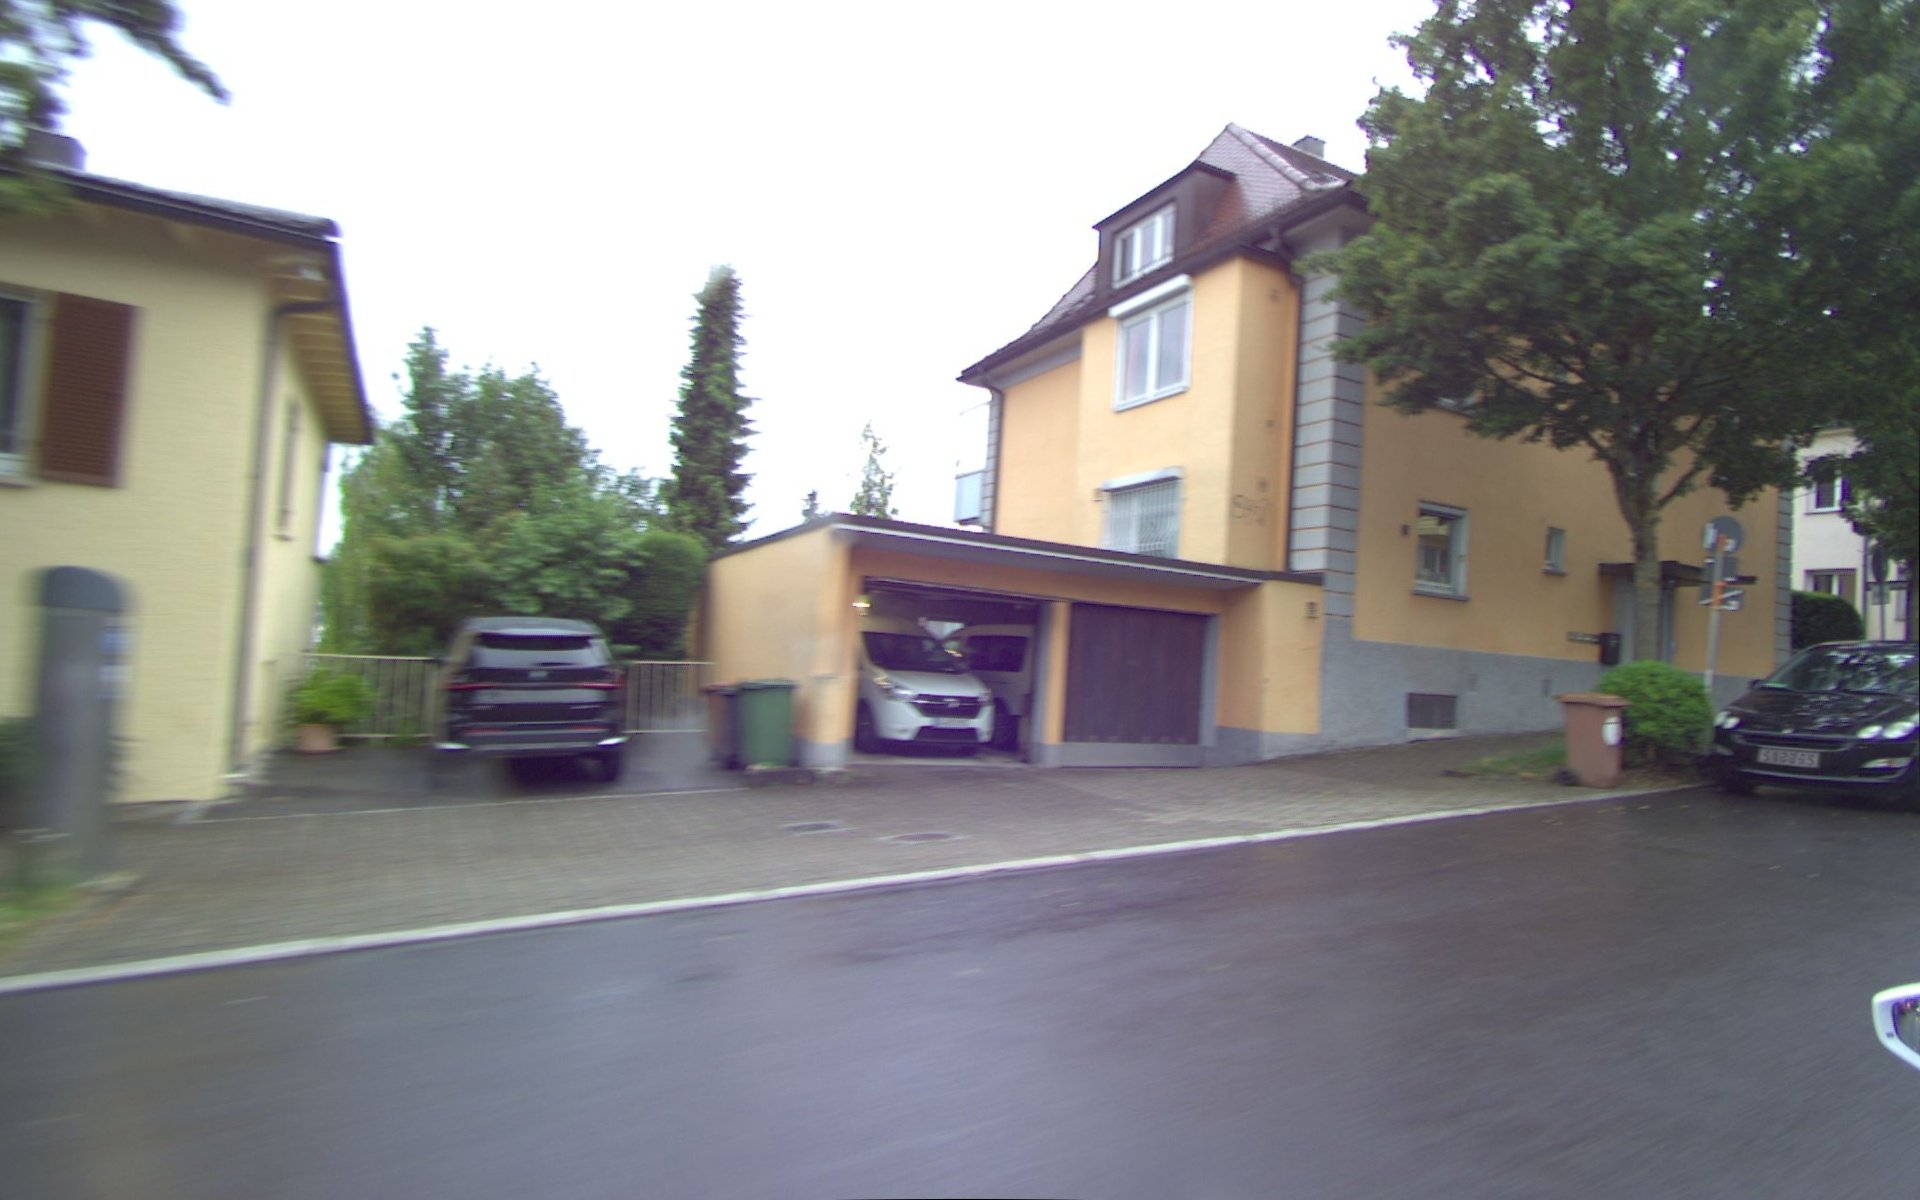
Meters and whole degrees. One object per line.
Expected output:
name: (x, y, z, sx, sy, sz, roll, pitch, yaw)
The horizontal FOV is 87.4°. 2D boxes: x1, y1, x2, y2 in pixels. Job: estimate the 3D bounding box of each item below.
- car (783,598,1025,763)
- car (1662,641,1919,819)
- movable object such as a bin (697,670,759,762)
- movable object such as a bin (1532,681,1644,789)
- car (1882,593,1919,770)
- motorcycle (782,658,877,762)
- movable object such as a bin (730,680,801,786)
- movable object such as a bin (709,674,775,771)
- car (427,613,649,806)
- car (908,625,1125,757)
car: (-0.982, 1.087, 14.382, 1.825, 1.914, 4.367, 6, -4, -25)
car: (9.136, 1.138, 10.016, 4.293, 1.455, 1.761, 1, -3, -28)
movable object such as a bin: (-2.839, 1.398, 12.292, 0.579, 1.037, 0.584, 1, 0, -31)
movable object such as a bin: (6.365, 1.349, 10.196, 0.700, 1.024, 0.679, 1, -5, -33)
car: (13.646, 0.933, 12.372, 4.720, 2.076, 1.785, 0, -4, -27)
motorcycle: (-1.679, 1.343, 12.678, 0.570, 1.182, 1.895, 4, -4, -25)
movable object such as a bin: (-2.097, 1.412, 10.816, 0.579, 1.037, 0.584, 1, 0, -31)
movable object such as a bin: (-2.533, 1.404, 11.655, 0.579, 1.037, 0.584, 1, 0, -31)
car: (-4.728, 0.998, 10.953, 1.840, 1.668, 4.037, 2, -1, -28)
car: (0.770, 1.389, 16.130, 1.825, 1.775, 3.735, 6, -4, -25)
